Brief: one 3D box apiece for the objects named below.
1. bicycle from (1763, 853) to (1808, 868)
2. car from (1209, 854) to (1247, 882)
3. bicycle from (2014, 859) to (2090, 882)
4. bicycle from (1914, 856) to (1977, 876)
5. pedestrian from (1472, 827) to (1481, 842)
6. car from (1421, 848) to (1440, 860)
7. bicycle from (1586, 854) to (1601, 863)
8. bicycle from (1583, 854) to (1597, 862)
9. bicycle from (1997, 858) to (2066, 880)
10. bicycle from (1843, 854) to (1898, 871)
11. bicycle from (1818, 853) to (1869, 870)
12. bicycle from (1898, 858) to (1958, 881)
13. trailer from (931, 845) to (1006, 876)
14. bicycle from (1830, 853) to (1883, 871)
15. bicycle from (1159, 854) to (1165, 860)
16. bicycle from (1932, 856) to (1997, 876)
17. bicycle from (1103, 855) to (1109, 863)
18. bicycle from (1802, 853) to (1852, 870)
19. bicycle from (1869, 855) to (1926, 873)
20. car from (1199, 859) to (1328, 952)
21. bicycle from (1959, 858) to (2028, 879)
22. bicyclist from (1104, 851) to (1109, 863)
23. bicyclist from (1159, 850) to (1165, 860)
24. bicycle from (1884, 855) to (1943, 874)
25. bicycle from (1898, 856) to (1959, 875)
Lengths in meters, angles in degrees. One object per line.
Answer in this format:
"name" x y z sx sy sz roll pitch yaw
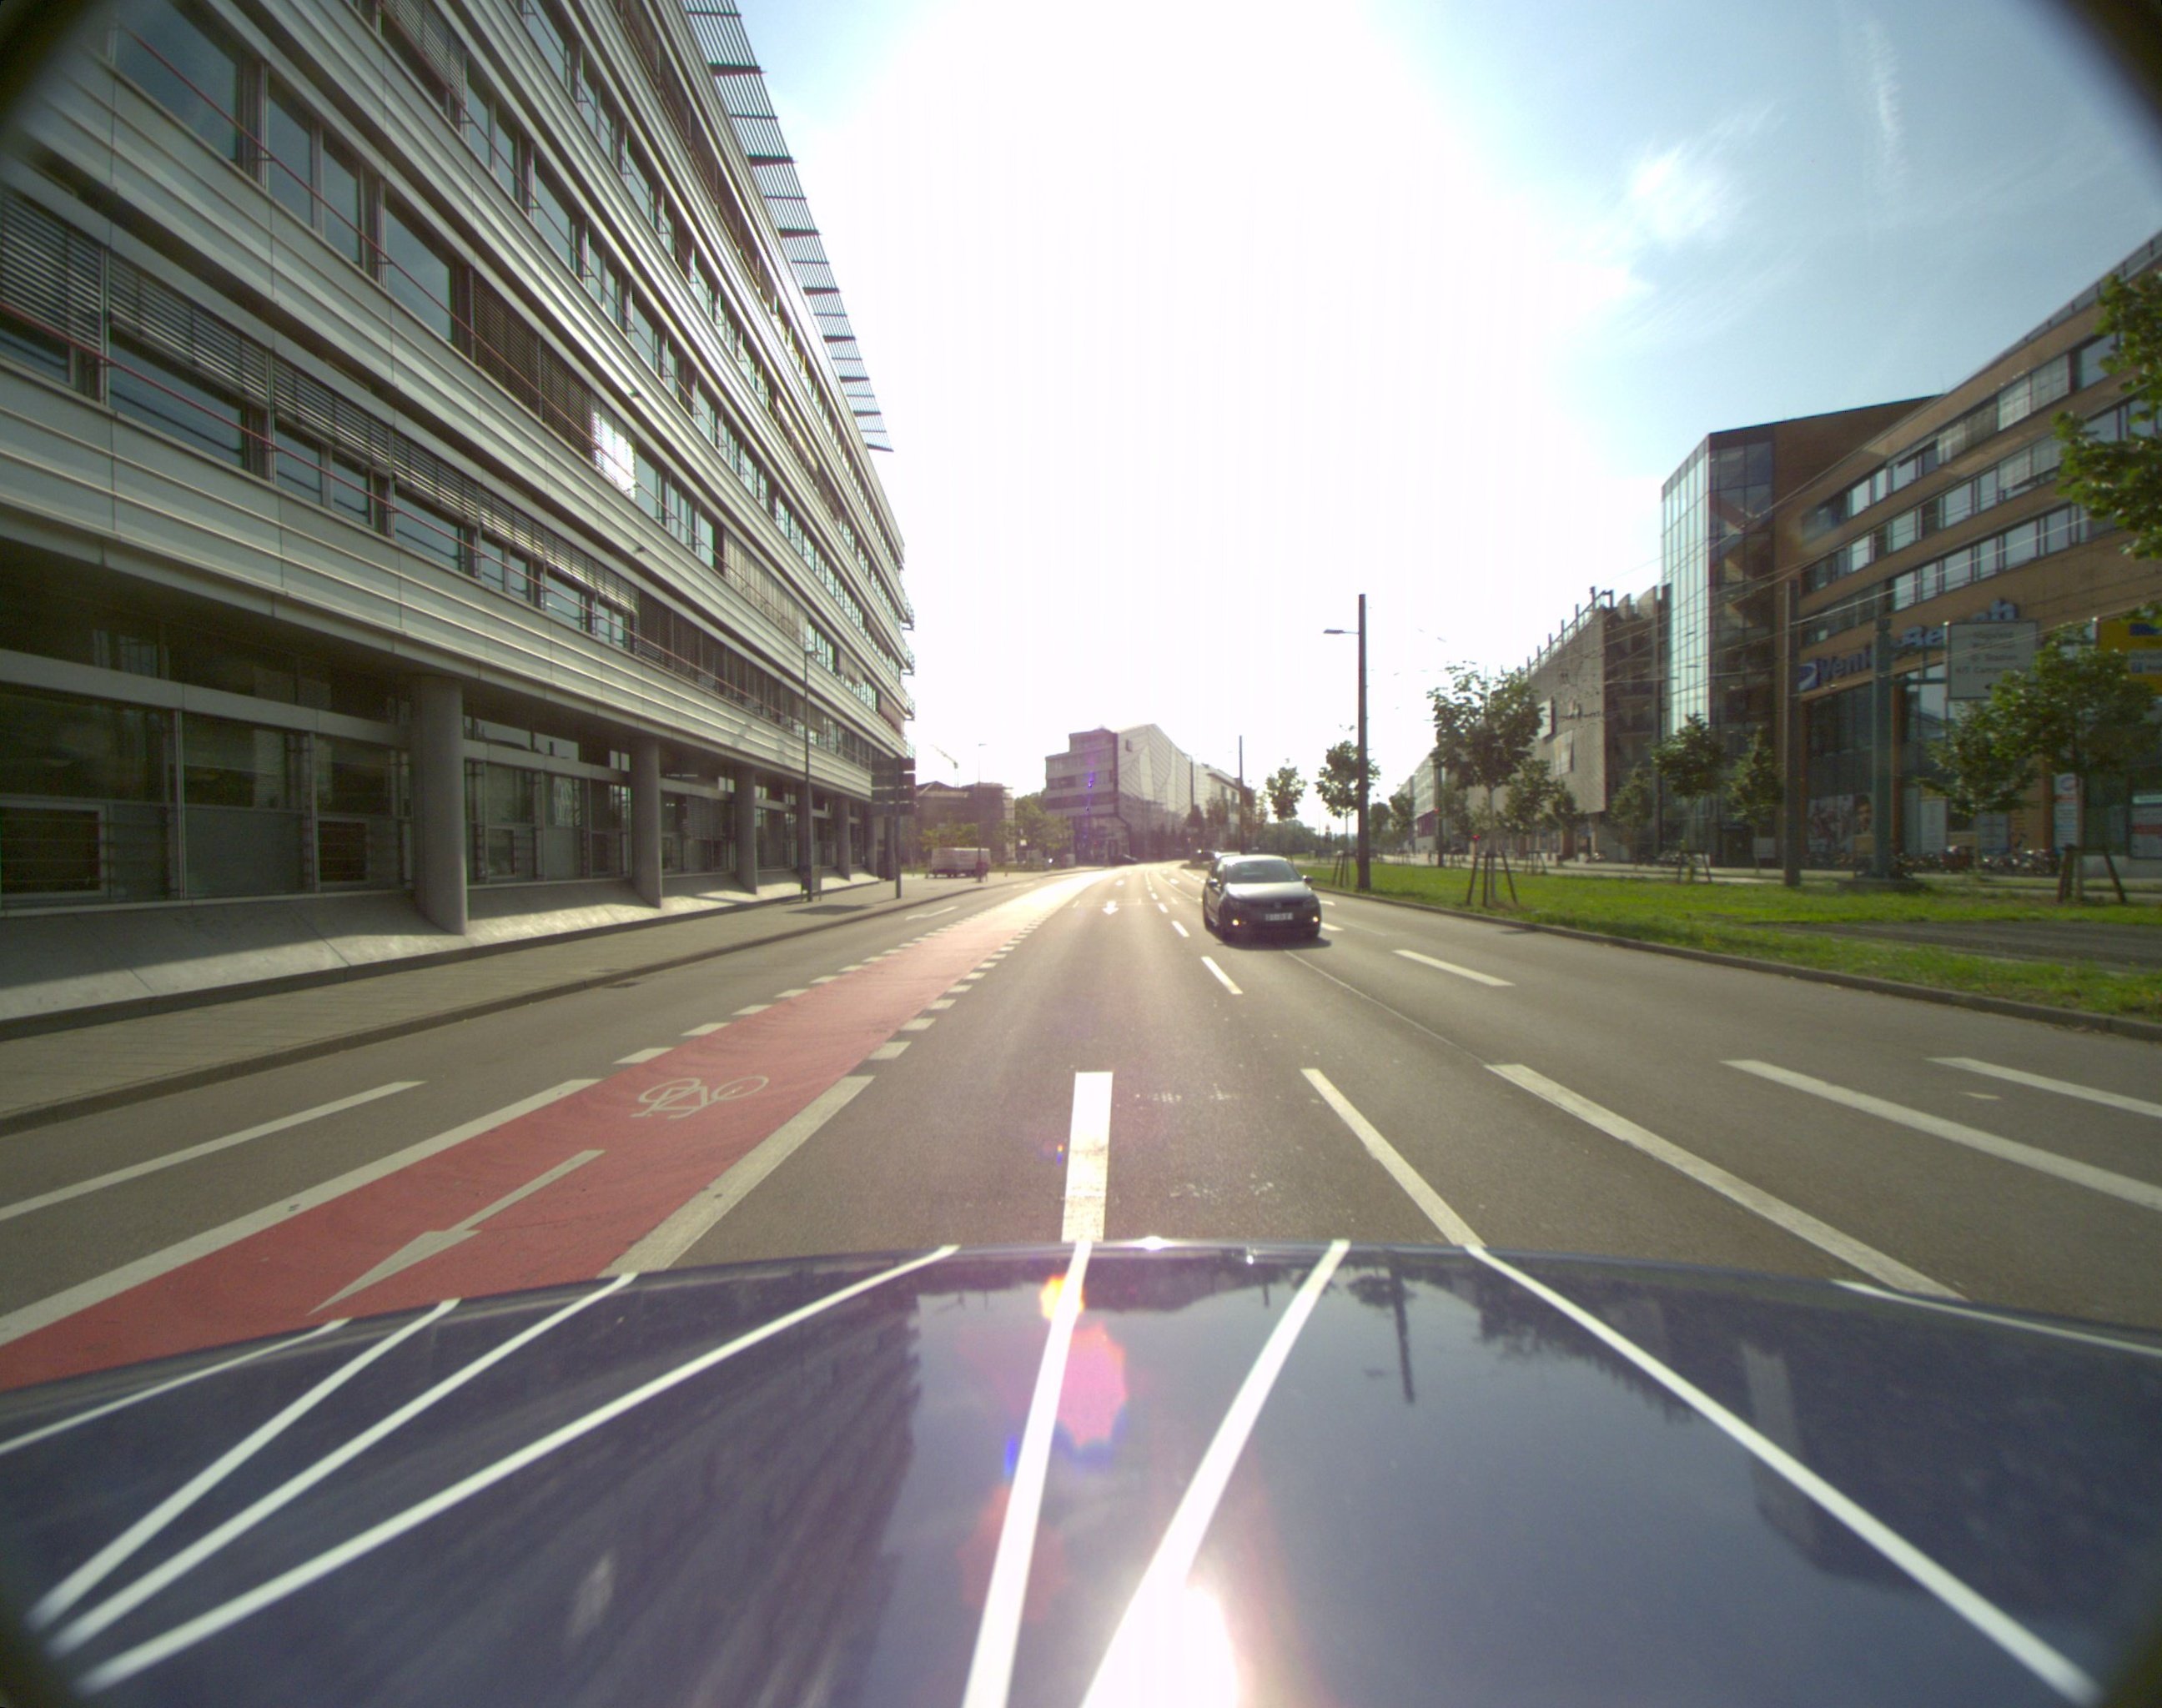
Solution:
"bicycle" 44.079 0.399 47.530 2.051 0.916 0.574 -1 1 13
"car" 7.422 0.669 38.625 1.586 1.335 3.166 -1 0 6
"bicycle" 40.687 0.683 31.854 2.051 0.916 0.574 -1 1 13
"bicycle" 41.744 0.572 36.691 2.051 0.916 0.574 -1 1 13
"pedestrian" 43.209 -2.153 82.913 0.762 1.570 0.590 0 1 15
"car" 37.822 -0.055 82.328 1.367 1.199 2.640 0 2 13
"bicycle" 45.204 0.395 66.977 1.022 0.747 0.361 -1 1 20
"bicycle" 45.610 0.362 68.099 1.004 0.747 0.453 -1 1 20
"bicycle" 40.840 0.657 32.673 2.051 0.916 0.381 -1 1 13
"bicycle" 42.579 0.463 40.985 2.051 0.916 0.574 -1 1 13
"bicycle" 43.087 0.432 42.937 2.051 0.916 0.574 -1 1 13
"bicycle" 35.550 0.664 31.910 1.679 0.902 0.709 -1 1 2
"trailer" -8.311 0.441 56.898 2.390 2.138 5.960 -1 0 30
"bicycle" 42.720 0.441 41.847 2.051 0.916 0.574 -1 1 13
"bicycle" 14.052 0.509 131.650 0.418 1.050 1.962 0 2 25
"bicycle" 41.588 0.562 35.802 2.051 0.916 0.574 -1 1 13
"bicycle" 3.712 0.667 110.685 0.669 1.092 1.805 -1 2 8
"bicycle" 43.158 0.424 43.968 2.051 0.916 0.574 -1 1 13
"bicycle" 42.182 0.521 39.270 2.051 0.916 0.574 -1 1 13
"car" 3.242 0.844 14.183 1.643 1.411 3.895 -1 1 3
"bicycle" 41.052 0.640 34.210 2.051 0.916 0.574 -1 1 13
"bicyclist" 3.725 0.398 110.770 0.669 1.693 0.637 -1 2 8
"bicyclist" 14.066 0.190 131.614 0.781 1.577 0.933 0 2 25
"bicycle" 42.061 0.548 38.414 2.051 0.916 0.574 -1 1 13
"bicycle" 41.879 0.552 37.573 2.051 0.916 0.574 -1 1 13
